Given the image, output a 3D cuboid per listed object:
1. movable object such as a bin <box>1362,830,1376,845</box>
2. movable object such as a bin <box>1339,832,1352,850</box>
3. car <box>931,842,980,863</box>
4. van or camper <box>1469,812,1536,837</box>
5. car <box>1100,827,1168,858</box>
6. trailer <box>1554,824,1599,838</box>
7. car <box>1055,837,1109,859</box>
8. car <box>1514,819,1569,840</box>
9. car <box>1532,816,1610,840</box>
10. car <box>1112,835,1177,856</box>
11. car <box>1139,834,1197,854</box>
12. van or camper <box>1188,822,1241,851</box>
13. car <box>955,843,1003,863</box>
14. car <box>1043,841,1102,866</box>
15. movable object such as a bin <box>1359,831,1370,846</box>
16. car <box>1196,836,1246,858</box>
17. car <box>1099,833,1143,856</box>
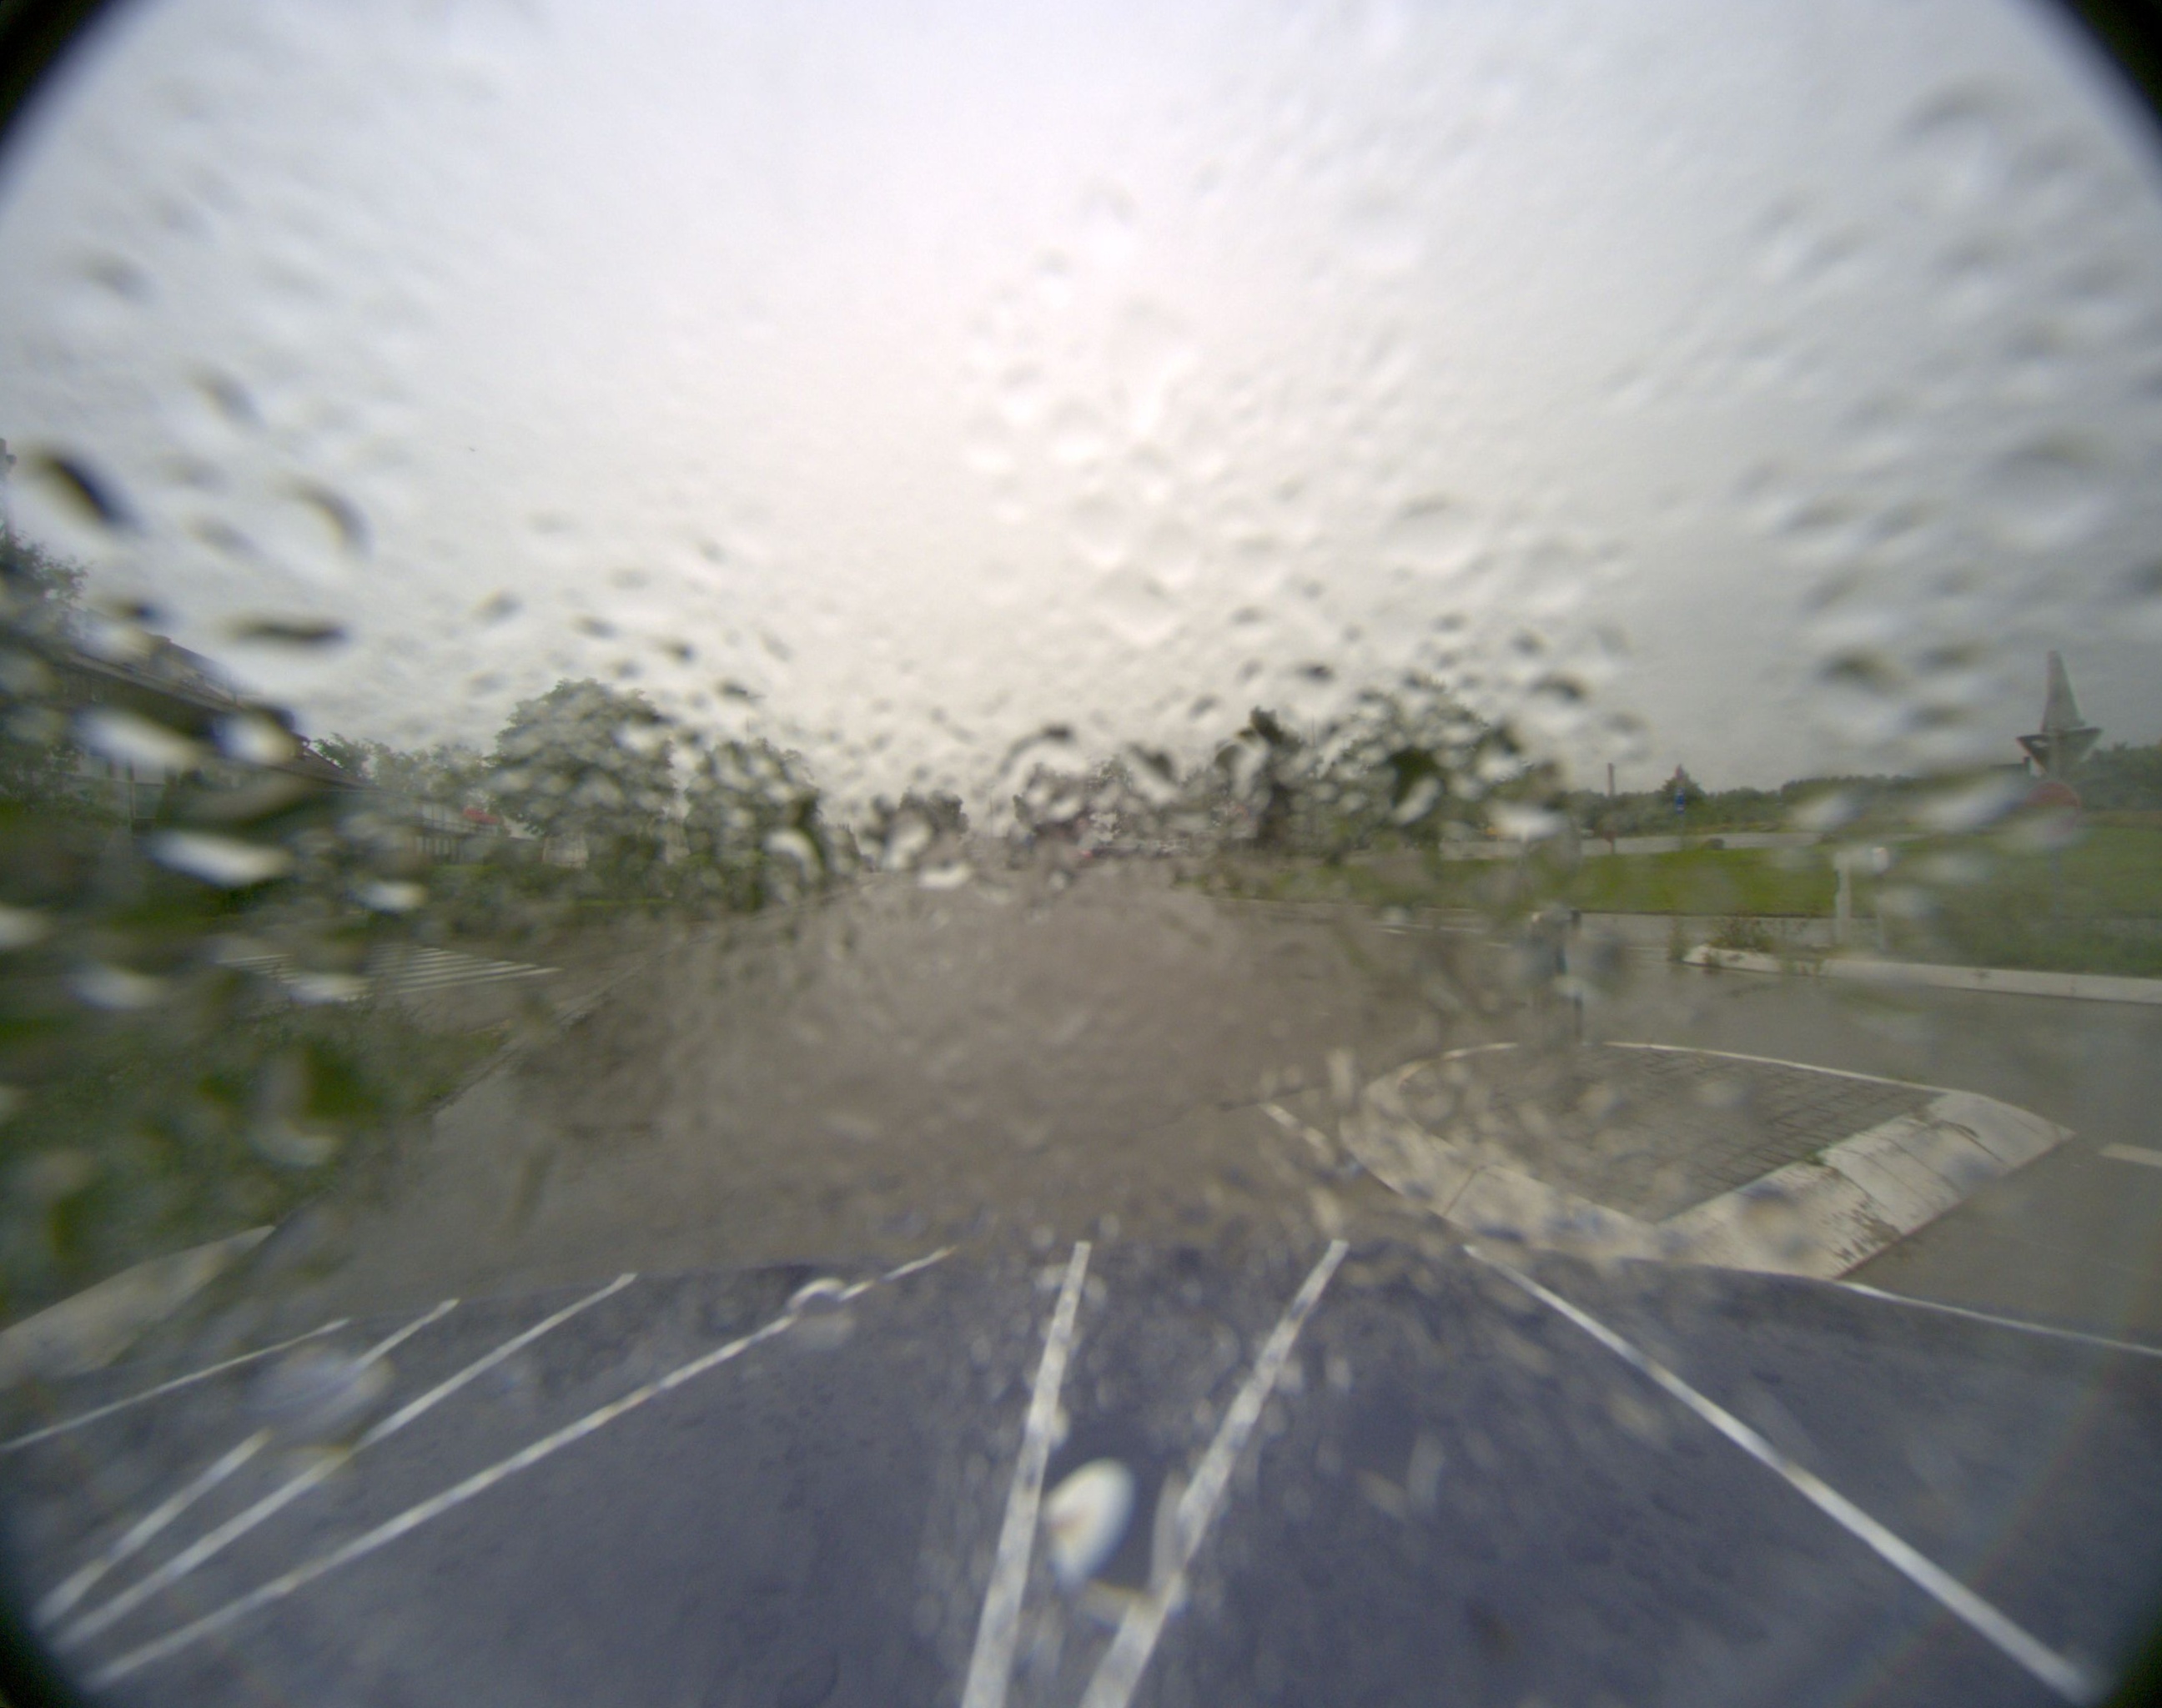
[{"bbox_3d":[17.916,-1.002,47.240,0.558,0.915,0.628,-3,2,-35],"label":"movable object such as a bin"},{"bbox_3d":[14.169,-0.707,40.664,0.449,0.933,0.489,0,3,44],"label":"movable object such as a bin"},{"bbox_3d":[-11.447,-0.164,69.310,4.038,1.683,1.802,-2,2,25],"label":"car"},{"bbox_3d":[41.512,-2.874,74.799,6.424,2.234,2.130,-2,2,-22],"label":"van or camper"},{"bbox_3d":[4.076,-0.893,58.275,4.757,2.176,2.002,-2,2,24],"label":"car"},{"bbox_3d":[40.884,-1.883,62.655,3.032,1.061,1.586,-2,1,-19],"label":"trailer"},{"bbox_3d":[0.126,-0.522,68.835,4.391,1.768,1.927,-2,2,21],"label":"car"},{"bbox_3d":[37.411,-1.957,61.706,4.059,1.547,1.547,-2,2,-19],"label":"car"},{"bbox_3d":[33.211,-1.763,51.554,4.075,1.425,1.779,-2,2,1],"label":"car"},{"bbox_3d":[5.053,-0.697,60.754,4.757,1.464,1.888,-2,2,24],"label":"car"},{"bbox_3d":[7.888,-0.909,68.551,4.757,1.578,2.002,-2,2,24],"label":"car"},{"bbox_3d":[10.140,-1.332,57.447,2.188,1.935,5.204,1,4,31],"label":"van or camper"},{"bbox_3d":[-9.643,-0.131,71.748,4.040,1.683,1.714,-2,2,17],"label":"car"},{"bbox_3d":[-0.707,-0.029,63.430,4.391,1.875,1.927,-2,2,21],"label":"car"},{"bbox_3d":[17.380,-0.971,46.564,0.417,0.915,0.493,-3,2,-35],"label":"movable object such as a bin"},{"bbox_3d":[14.732,-0.709,79.904,4.757,2.070,2.002,-2,2,24],"label":"car"},{"bbox_3d":[3.890,-0.895,73.660,3.778,2.002,1.789,-2,1,20],"label":"car"}]
